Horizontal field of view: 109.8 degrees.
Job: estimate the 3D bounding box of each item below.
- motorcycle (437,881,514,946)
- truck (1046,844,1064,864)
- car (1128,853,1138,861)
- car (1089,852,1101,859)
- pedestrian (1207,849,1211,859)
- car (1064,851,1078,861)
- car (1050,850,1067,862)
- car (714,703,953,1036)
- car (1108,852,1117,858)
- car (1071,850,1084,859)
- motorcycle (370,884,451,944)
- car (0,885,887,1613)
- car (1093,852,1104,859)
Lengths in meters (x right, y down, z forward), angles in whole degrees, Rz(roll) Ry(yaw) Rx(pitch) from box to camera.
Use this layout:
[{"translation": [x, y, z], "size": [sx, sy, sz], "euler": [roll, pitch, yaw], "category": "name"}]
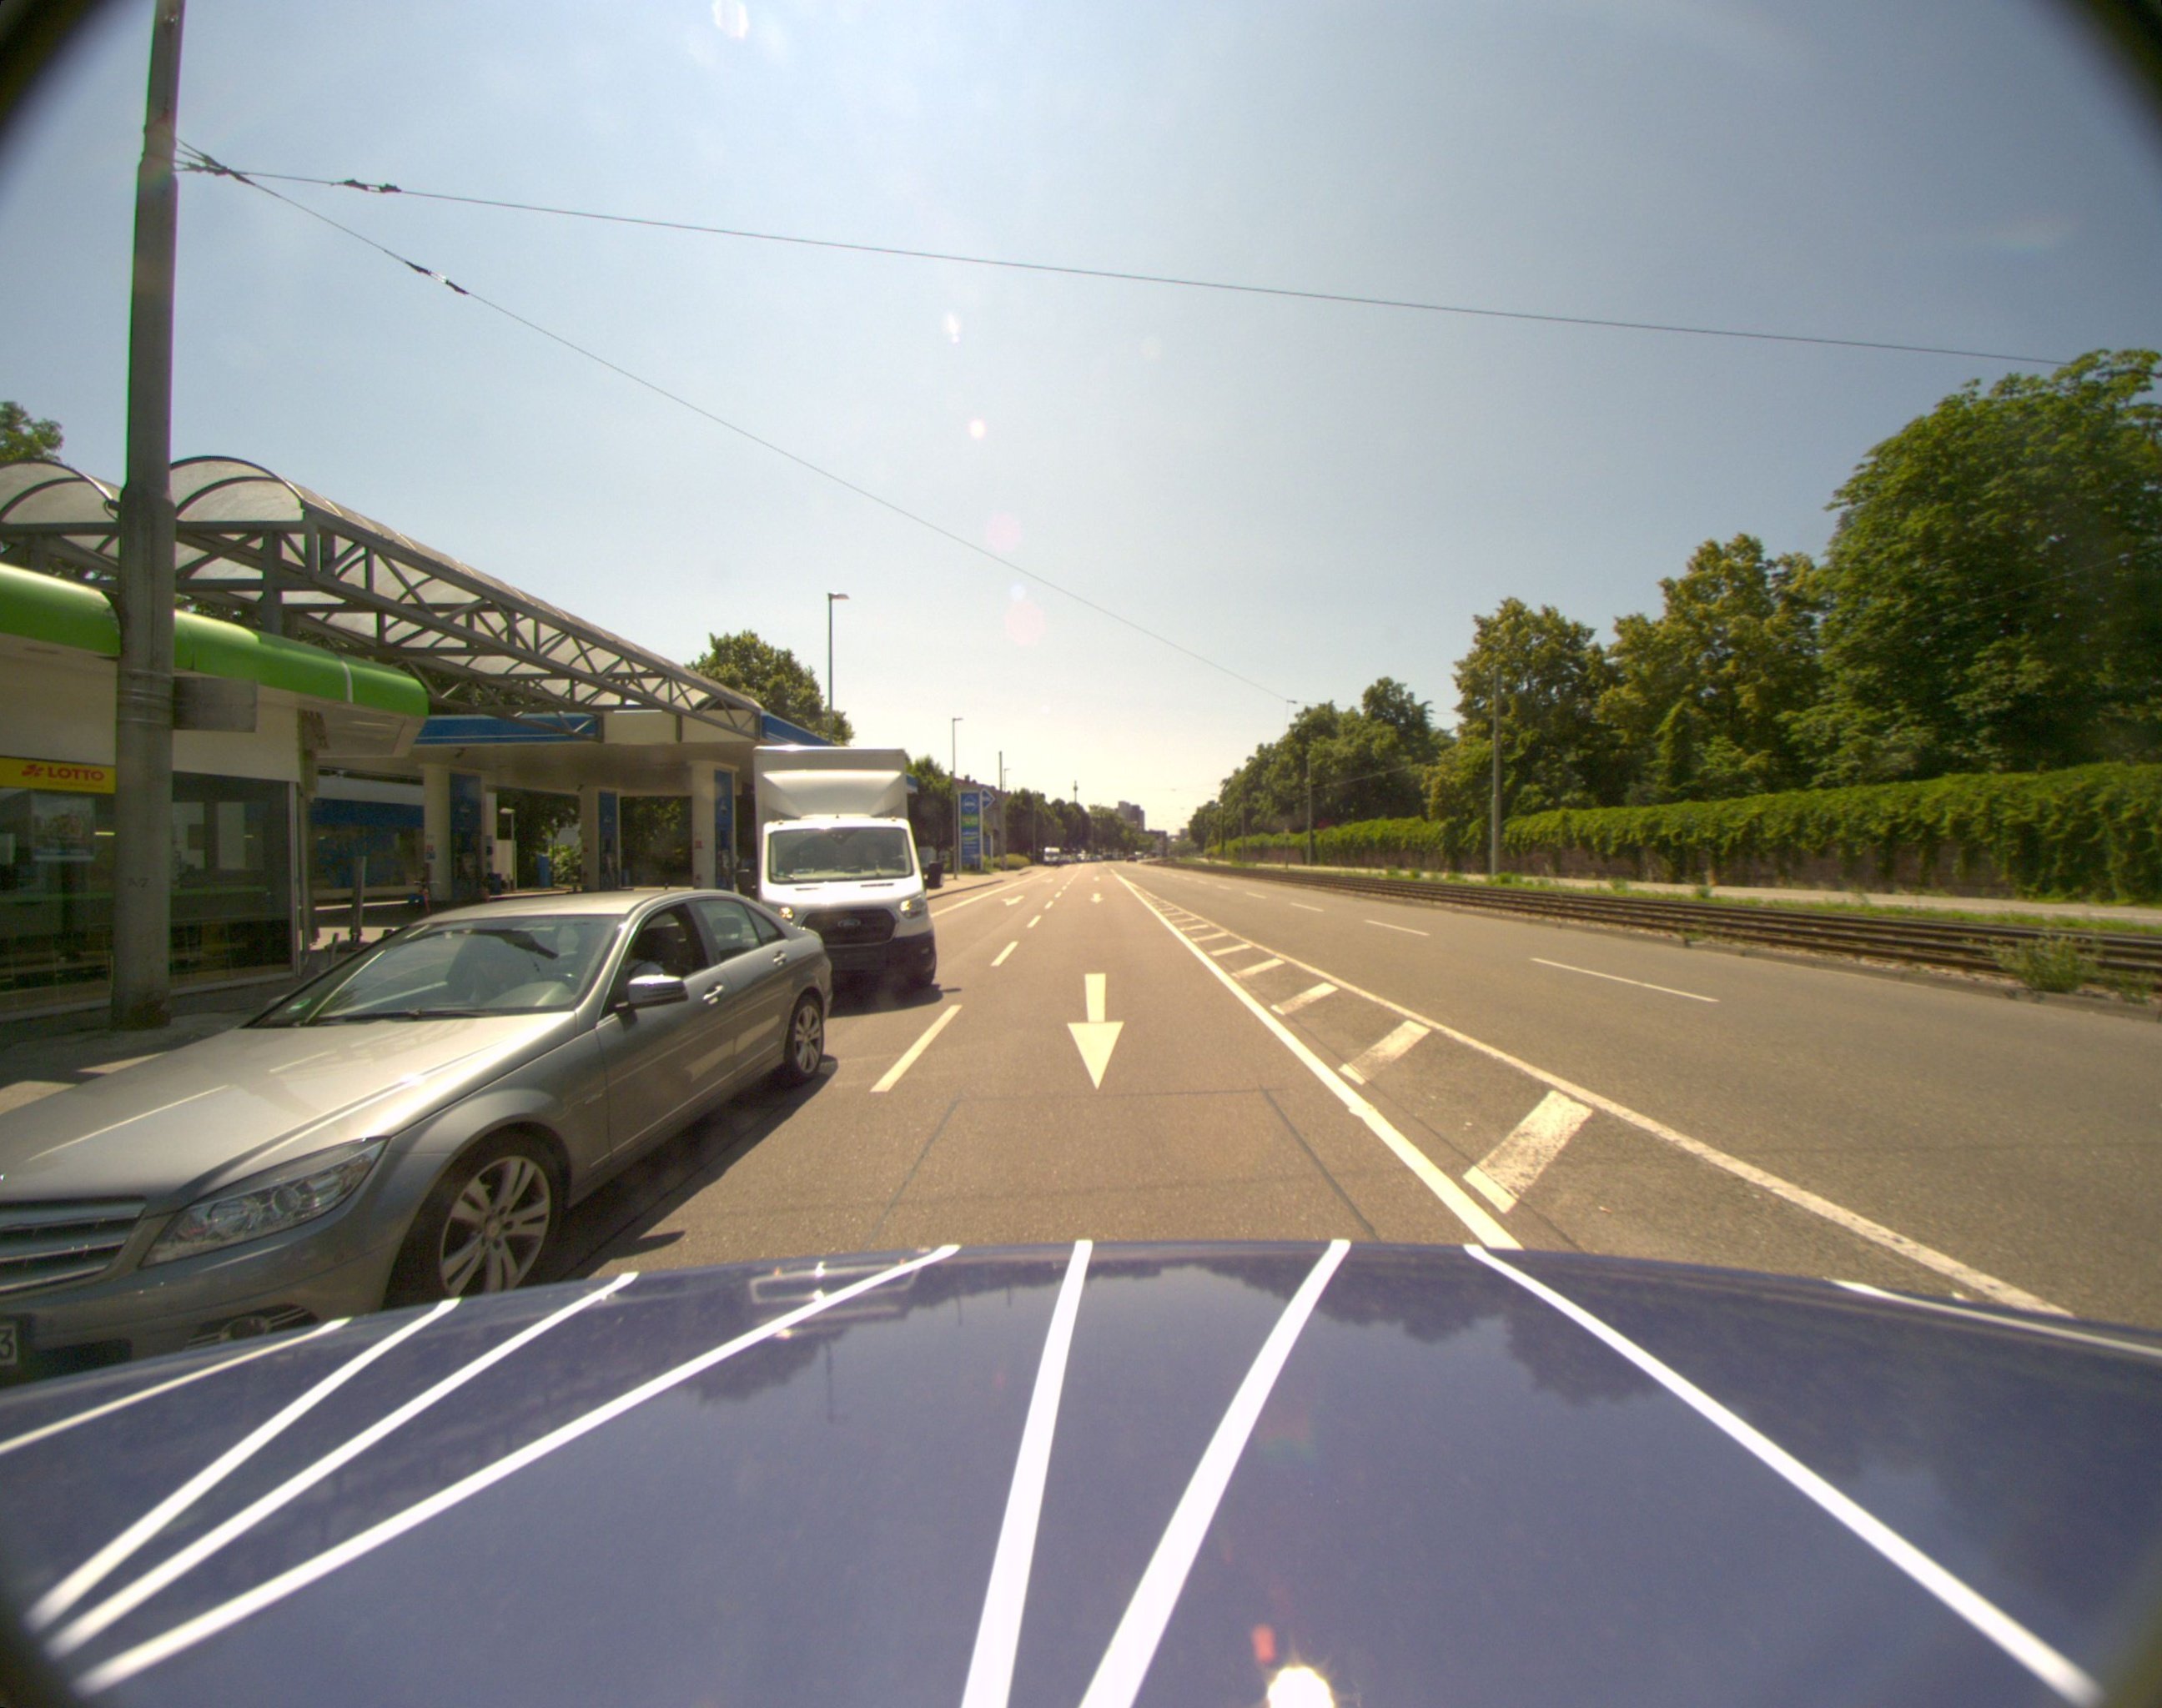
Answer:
[{"translation": [-11.600, 1.126, 14.571], "size": [1.157, 1.203, 0.364], "euler": [1, -1, -1], "category": "motorcycle"}, {"translation": [-3.420, -0.024, 101.533], "size": [1.998, 2.462, 5.237], "euler": [-2, 1, 1], "category": "truck"}, {"translation": [9.916, 0.549, 143.897], "size": [1.801, 1.488, 3.964], "euler": [-2, 0, 3], "category": "car"}, {"translation": [3.174, 0.388, 171.984], "size": [1.911, 1.488, 4.002], "euler": [-2, 1, 10], "category": "car"}, {"translation": [20.942, 0.012, 124.255], "size": [0.453, 1.655, 0.302], "euler": [-2, 0, 1], "category": "pedestrian"}, {"translation": [-1.654, 0.280, 126.606], "size": [1.912, 1.488, 4.001], "euler": [-2, 1, 4], "category": "car"}, {"translation": [-3.232, 0.275, 110.264], "size": [1.912, 1.488, 4.001], "euler": [-2, 1, 4], "category": "car"}, {"translation": [-3.916, 0.142, 12.015], "size": [2.233, 3.316, 8.622], "euler": [-3, 1, -19], "category": "car"}, {"translation": [8.354, 0.335, 203.139], "size": [1.911, 1.488, 4.002], "euler": [-2, 1, 10], "category": "car"}, {"translation": [-0.652, 0.142, 138.792], "size": [1.912, 1.488, 4.001], "euler": [-2, 1, 4], "category": "car"}, {"translation": [-12.841, 1.140, 14.554], "size": [1.157, 1.107, 0.396], "euler": [1, -1, -1], "category": "motorcycle"}, {"translation": [-2.785, 1.052, 4.418], "size": [1.717, 1.464, 5.302], "euler": [-3, 0, 2], "category": "car"}, {"translation": [4.018, 0.300, 176.958], "size": [1.911, 1.488, 4.002], "euler": [-2, 1, 10], "category": "car"}]
